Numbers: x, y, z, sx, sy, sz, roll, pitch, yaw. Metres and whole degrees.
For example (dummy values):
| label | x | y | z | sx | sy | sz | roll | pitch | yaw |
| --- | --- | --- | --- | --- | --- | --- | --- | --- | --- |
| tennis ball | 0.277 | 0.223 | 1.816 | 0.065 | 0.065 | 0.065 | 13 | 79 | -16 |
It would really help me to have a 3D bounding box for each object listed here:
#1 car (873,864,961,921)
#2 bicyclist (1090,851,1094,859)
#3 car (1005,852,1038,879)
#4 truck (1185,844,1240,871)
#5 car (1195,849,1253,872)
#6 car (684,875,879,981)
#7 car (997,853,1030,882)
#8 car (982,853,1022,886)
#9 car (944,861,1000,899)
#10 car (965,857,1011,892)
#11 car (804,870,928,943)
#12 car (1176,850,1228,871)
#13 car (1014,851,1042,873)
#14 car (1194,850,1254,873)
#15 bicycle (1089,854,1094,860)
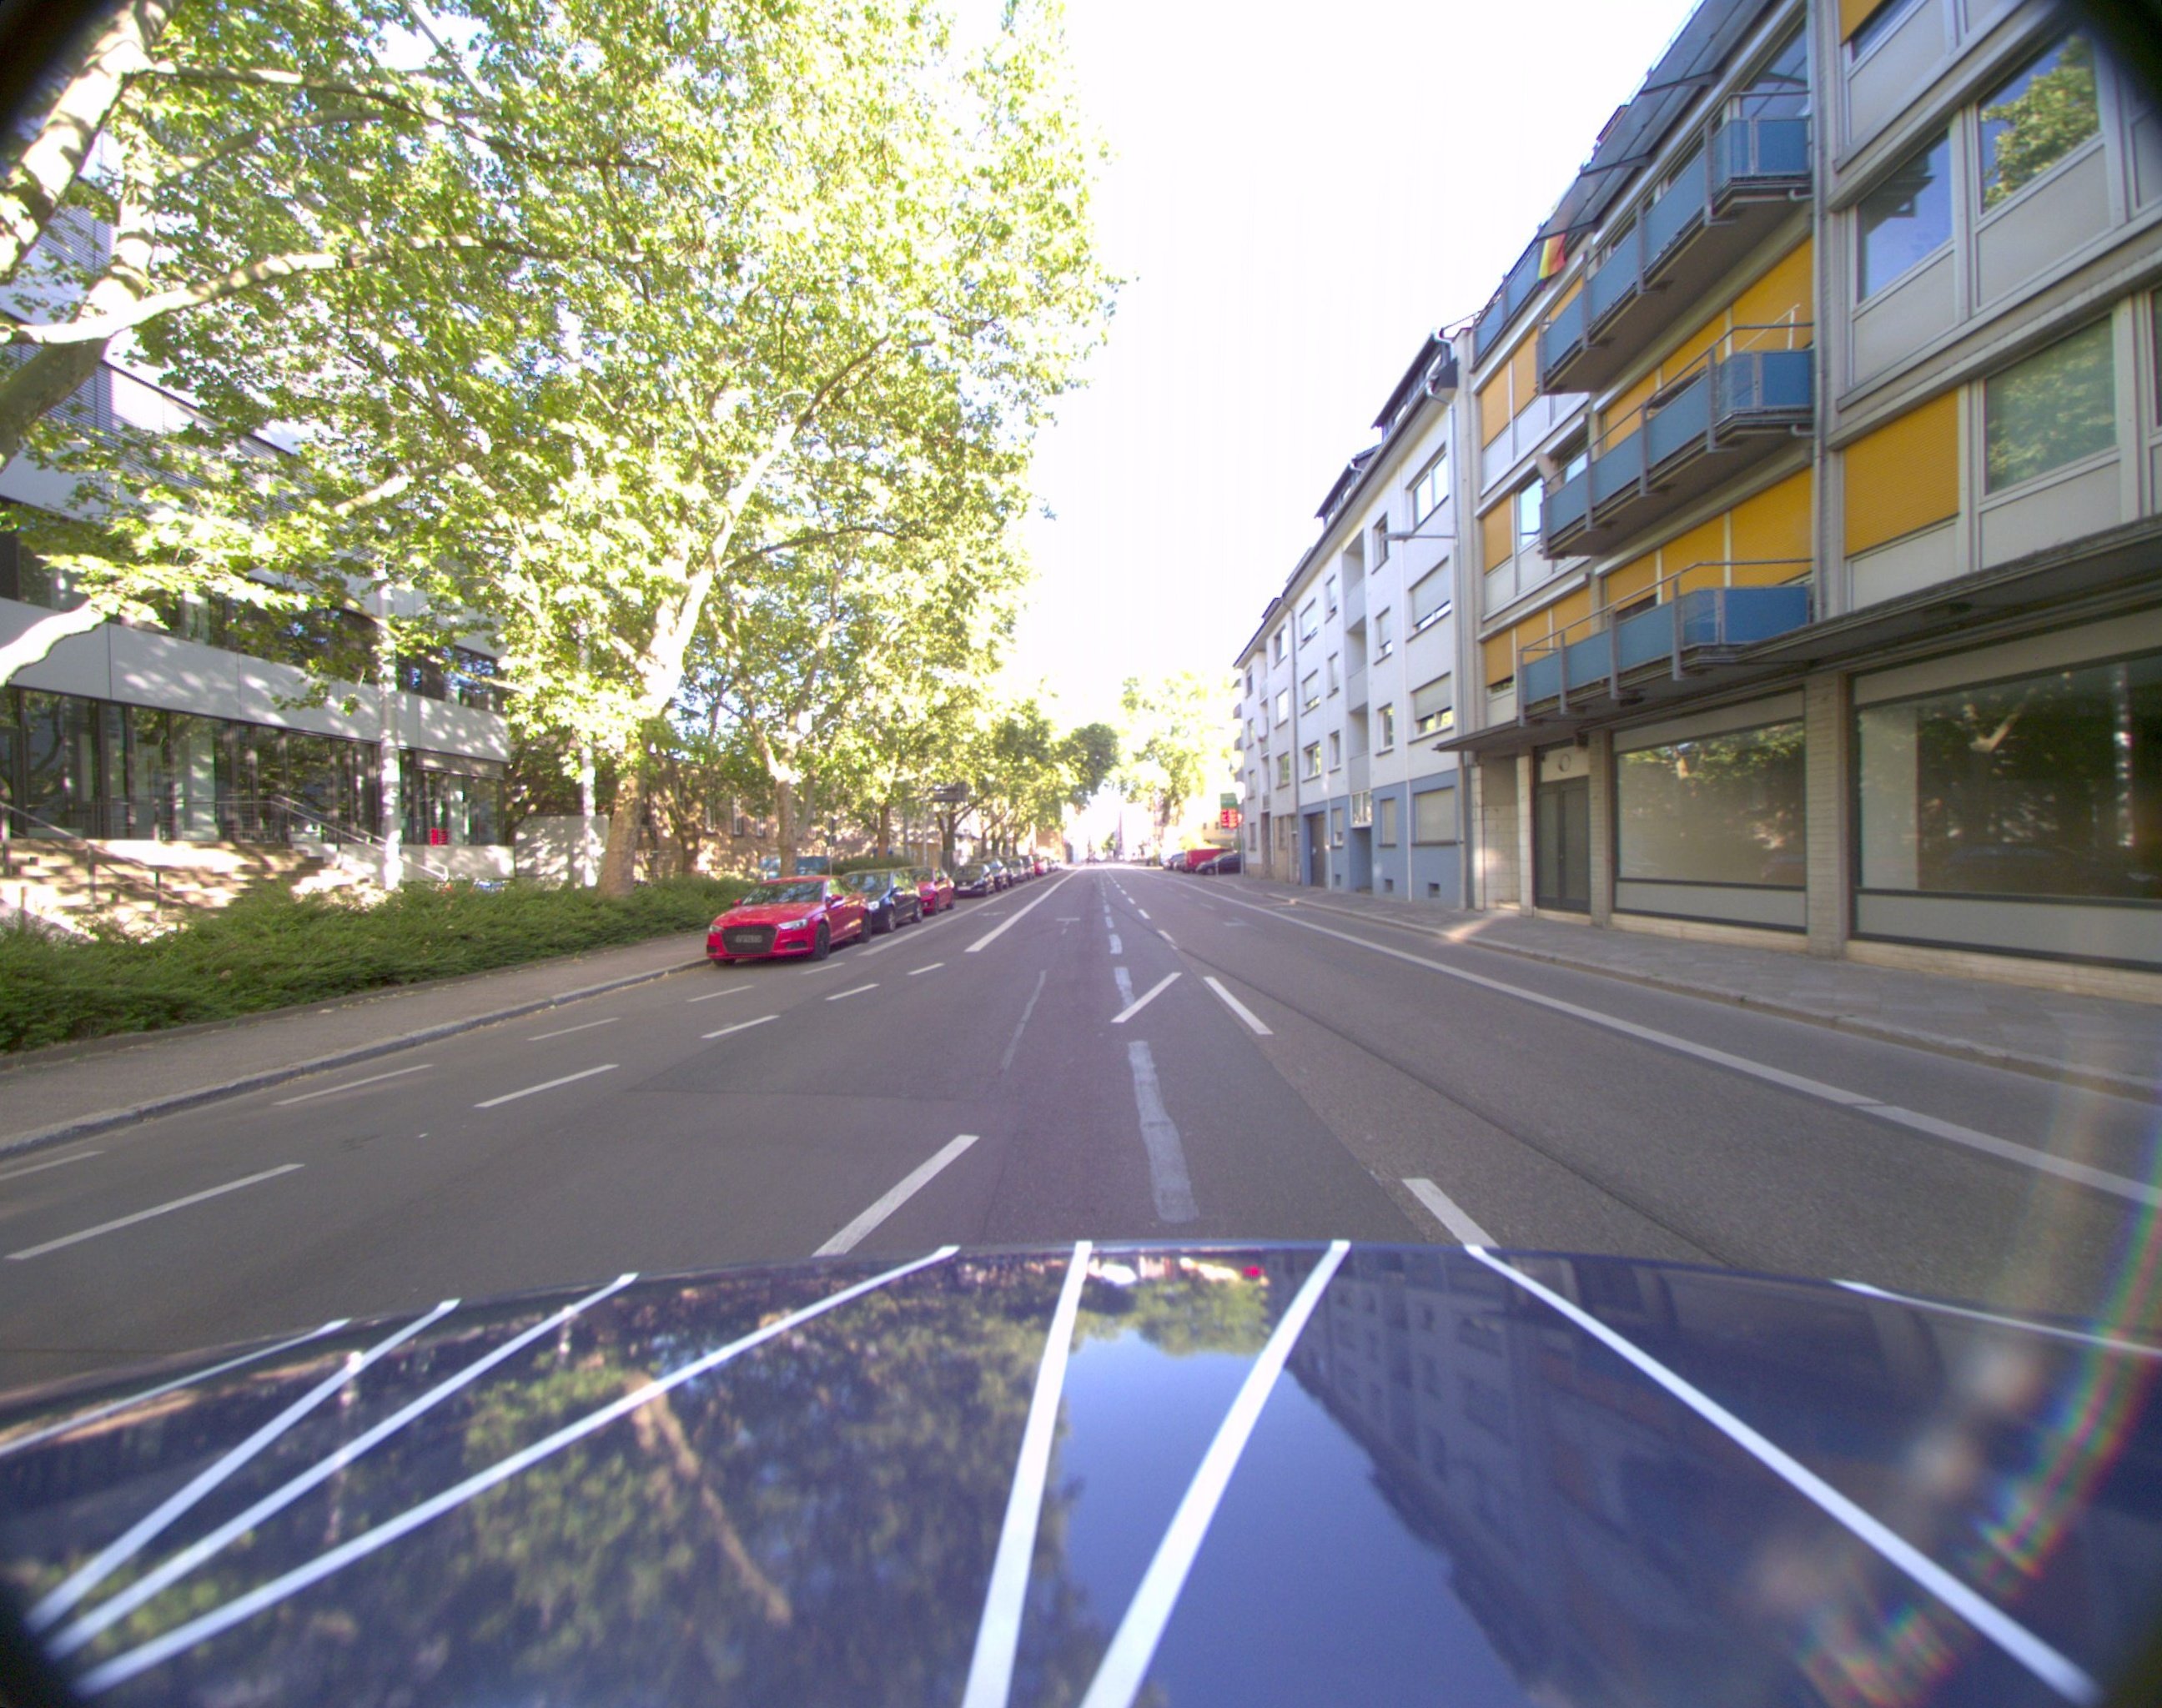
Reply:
| label | x | y | z | sx | sy | sz | roll | pitch | yaw |
| --- | --- | --- | --- | --- | --- | --- | --- | --- | --- |
| car | -5.033 | 1.128 | 23.856 | 1.818 | 1.475 | 4.163 | -3 | 0 | 0 |
| bicyclist | 2.218 | 0.214 | 157.014 | 0.718 | 1.573 | 0.936 | -2 | 1 | 6 |
| car | -4.322 | 0.801 | 55.659 | 2.042 | 1.745 | 4.552 | -3 | 0 | 0 |
| truck | 10.362 | 0.248 | 59.989 | 3.996 | 1.925 | 1.761 | -2 | 1 | 2 |
| car | 10.722 | 0.482 | 57.140 | 3.996 | 1.494 | 1.761 | -2 | 1 | 2 |
| car | -5.141 | 1.197 | 13.717 | 1.818 | 1.405 | 4.163 | -3 | 0 | 0 |
| car | -4.451 | 0.857 | 50.701 | 1.790 | 1.745 | 4.552 | -3 | 0 | 0 |
| car | -4.529 | 0.873 | 44.145 | 1.790 | 1.745 | 4.345 | -3 | 0 | 0 |
| car | -4.706 | 1.082 | 33.383 | 1.790 | 1.451 | 4.163 | -3 | 0 | 0 |
| car | -4.605 | 0.982 | 38.129 | 1.790 | 1.544 | 4.163 | -3 | 0 | 0 |
| car | -5.086 | 1.174 | 18.573 | 1.818 | 1.405 | 4.163 | -3 | 0 | 0 |
| car | 9.972 | 0.528 | 62.842 | 3.996 | 1.494 | 1.761 | -2 | 1 | 2 |
| car | -4.597 | 0.704 | 66.090 | 2.042 | 1.745 | 4.552 | -3 | 0 | 0 |
| car | 10.249 | 0.549 | 54.792 | 3.996 | 1.449 | 1.761 | -2 | 1 | 2 |
| bicycle | 2.234 | 0.646 | 157.122 | 0.717 | 1.052 | 2.486 | -2 | 1 | 6 |
